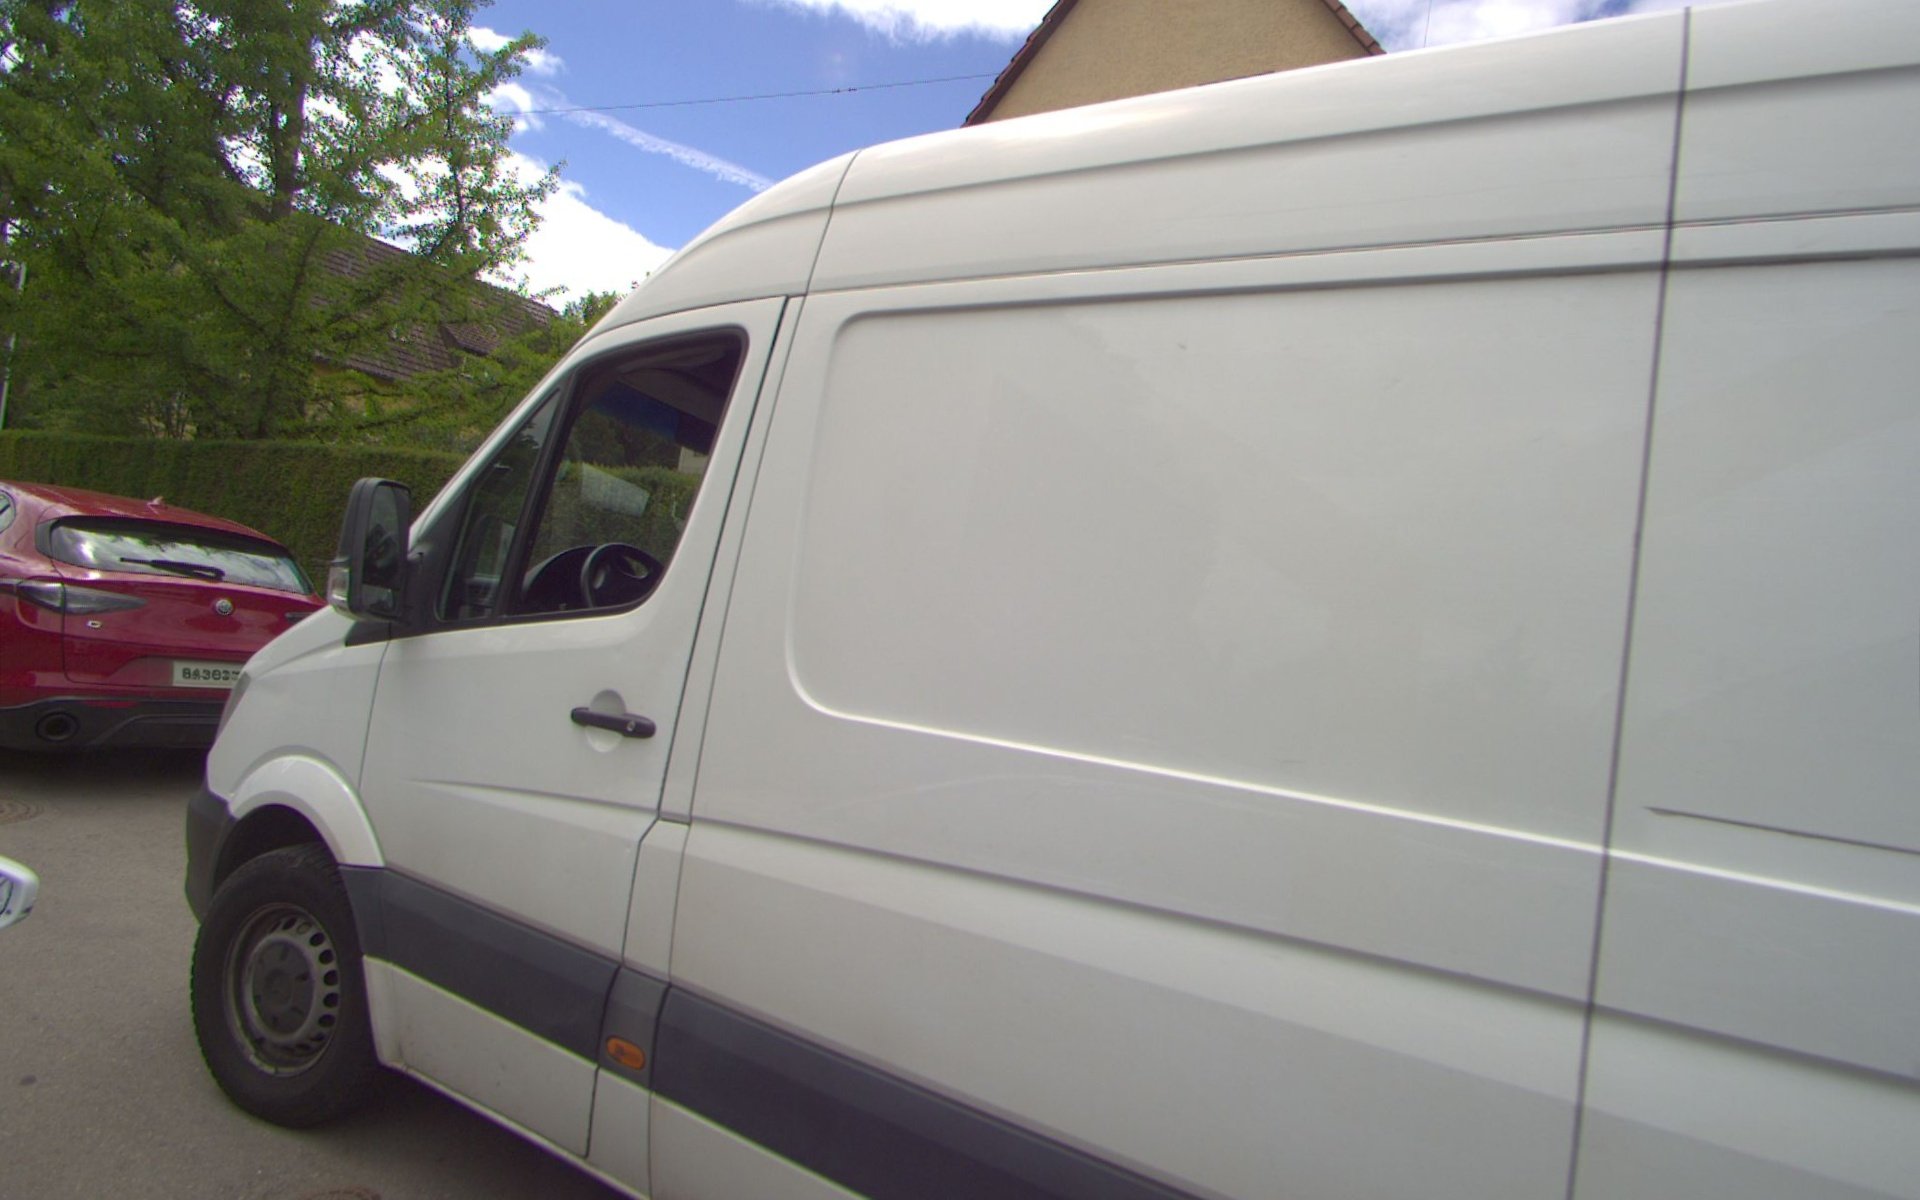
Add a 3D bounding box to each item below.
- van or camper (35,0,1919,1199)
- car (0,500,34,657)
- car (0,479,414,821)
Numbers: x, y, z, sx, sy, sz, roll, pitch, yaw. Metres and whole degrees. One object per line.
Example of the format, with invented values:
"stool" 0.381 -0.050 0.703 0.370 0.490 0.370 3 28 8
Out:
"van or camper" 0.794 0.399 2.321 6.919 2.649 2.047 7 -2 30
"car" -10.846 -0.444 9.769 3.987 1.424 1.681 7 0 32
"car" -5.946 0.066 6.723 4.686 1.600 1.891 7 0 32
